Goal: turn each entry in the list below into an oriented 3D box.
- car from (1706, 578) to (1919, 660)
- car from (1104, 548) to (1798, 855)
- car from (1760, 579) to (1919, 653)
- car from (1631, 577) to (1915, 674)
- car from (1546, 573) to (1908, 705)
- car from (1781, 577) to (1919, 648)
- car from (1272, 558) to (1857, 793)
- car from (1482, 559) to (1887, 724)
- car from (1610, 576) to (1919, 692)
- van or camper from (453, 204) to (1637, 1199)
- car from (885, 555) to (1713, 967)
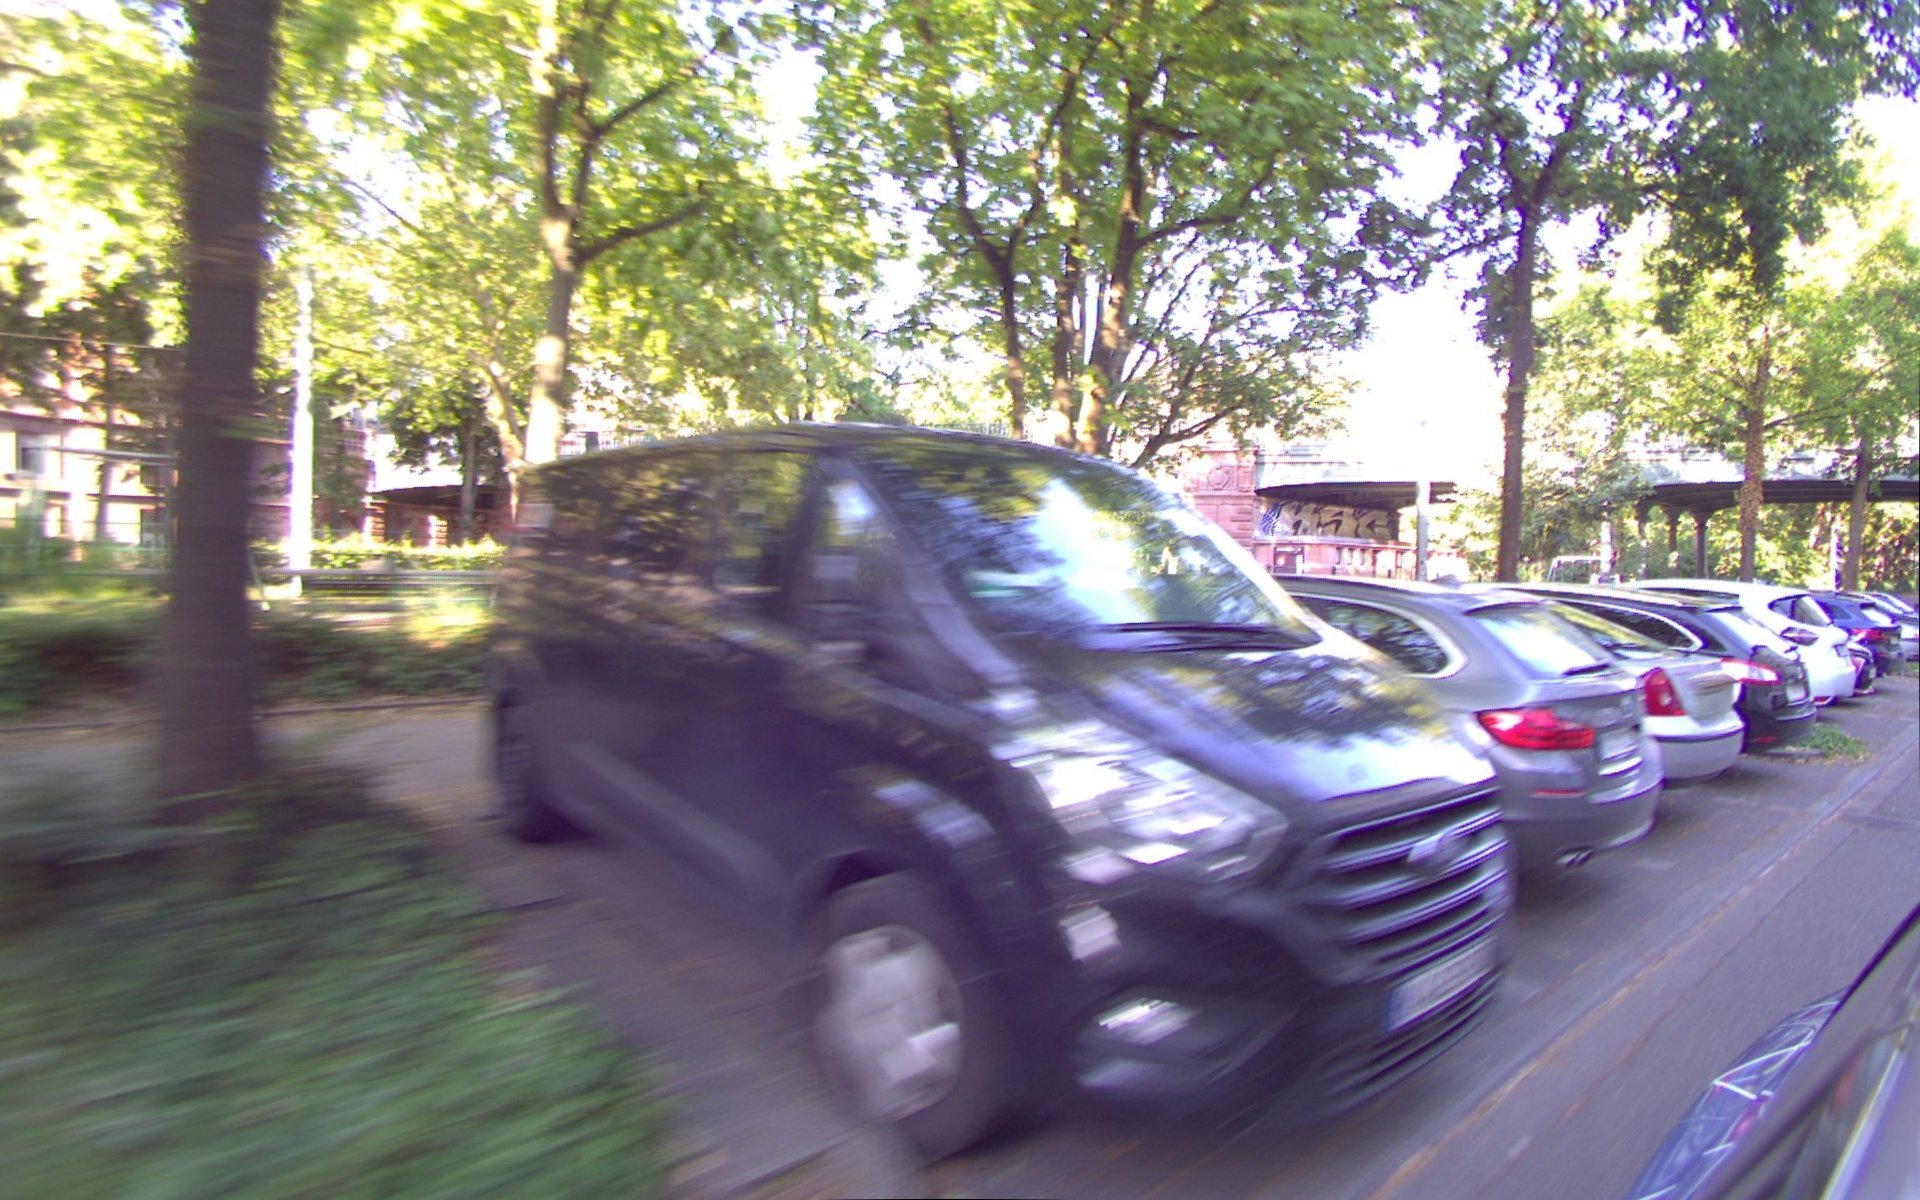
[{"bbox_3d":[17.891,0.336,20.842,1.635,1.418,3.790,-2,4,-41],"label":"car"},{"bbox_3d":[3.251,0.427,7.601,1.634,1.596,4.412,-2,4,-38],"label":"car"},{"bbox_3d":[20.180,0.320,22.212,1.795,1.418,3.792,-2,4,-39],"label":"car"},{"bbox_3d":[14.577,0.363,18.278,1.738,1.418,3.786,-3,4,-44],"label":"car"},{"bbox_3d":[10.736,0.426,14.401,1.634,1.491,3.793,-2,4,-38],"label":"car"},{"bbox_3d":[21.827,0.277,23.761,1.609,1.490,3.786,-3,4,-44],"label":"car"},{"bbox_3d":[5.282,0.448,9.495,1.633,1.596,4.415,-2,4,-35],"label":"car"},{"bbox_3d":[8.847,0.362,12.624,1.635,1.666,3.791,-2,4,-40],"label":"car"},{"bbox_3d":[12.693,0.420,15.919,1.633,1.464,3.796,-2,4,-35],"label":"car"},{"bbox_3d":[-0.527,0.248,4.449,1.992,2.052,5.429,1,2,-38],"label":"van or camper"},{"bbox_3d":[1.624,0.519,6.099,1.807,1.519,4.405,-3,4,-43],"label":"car"}]
